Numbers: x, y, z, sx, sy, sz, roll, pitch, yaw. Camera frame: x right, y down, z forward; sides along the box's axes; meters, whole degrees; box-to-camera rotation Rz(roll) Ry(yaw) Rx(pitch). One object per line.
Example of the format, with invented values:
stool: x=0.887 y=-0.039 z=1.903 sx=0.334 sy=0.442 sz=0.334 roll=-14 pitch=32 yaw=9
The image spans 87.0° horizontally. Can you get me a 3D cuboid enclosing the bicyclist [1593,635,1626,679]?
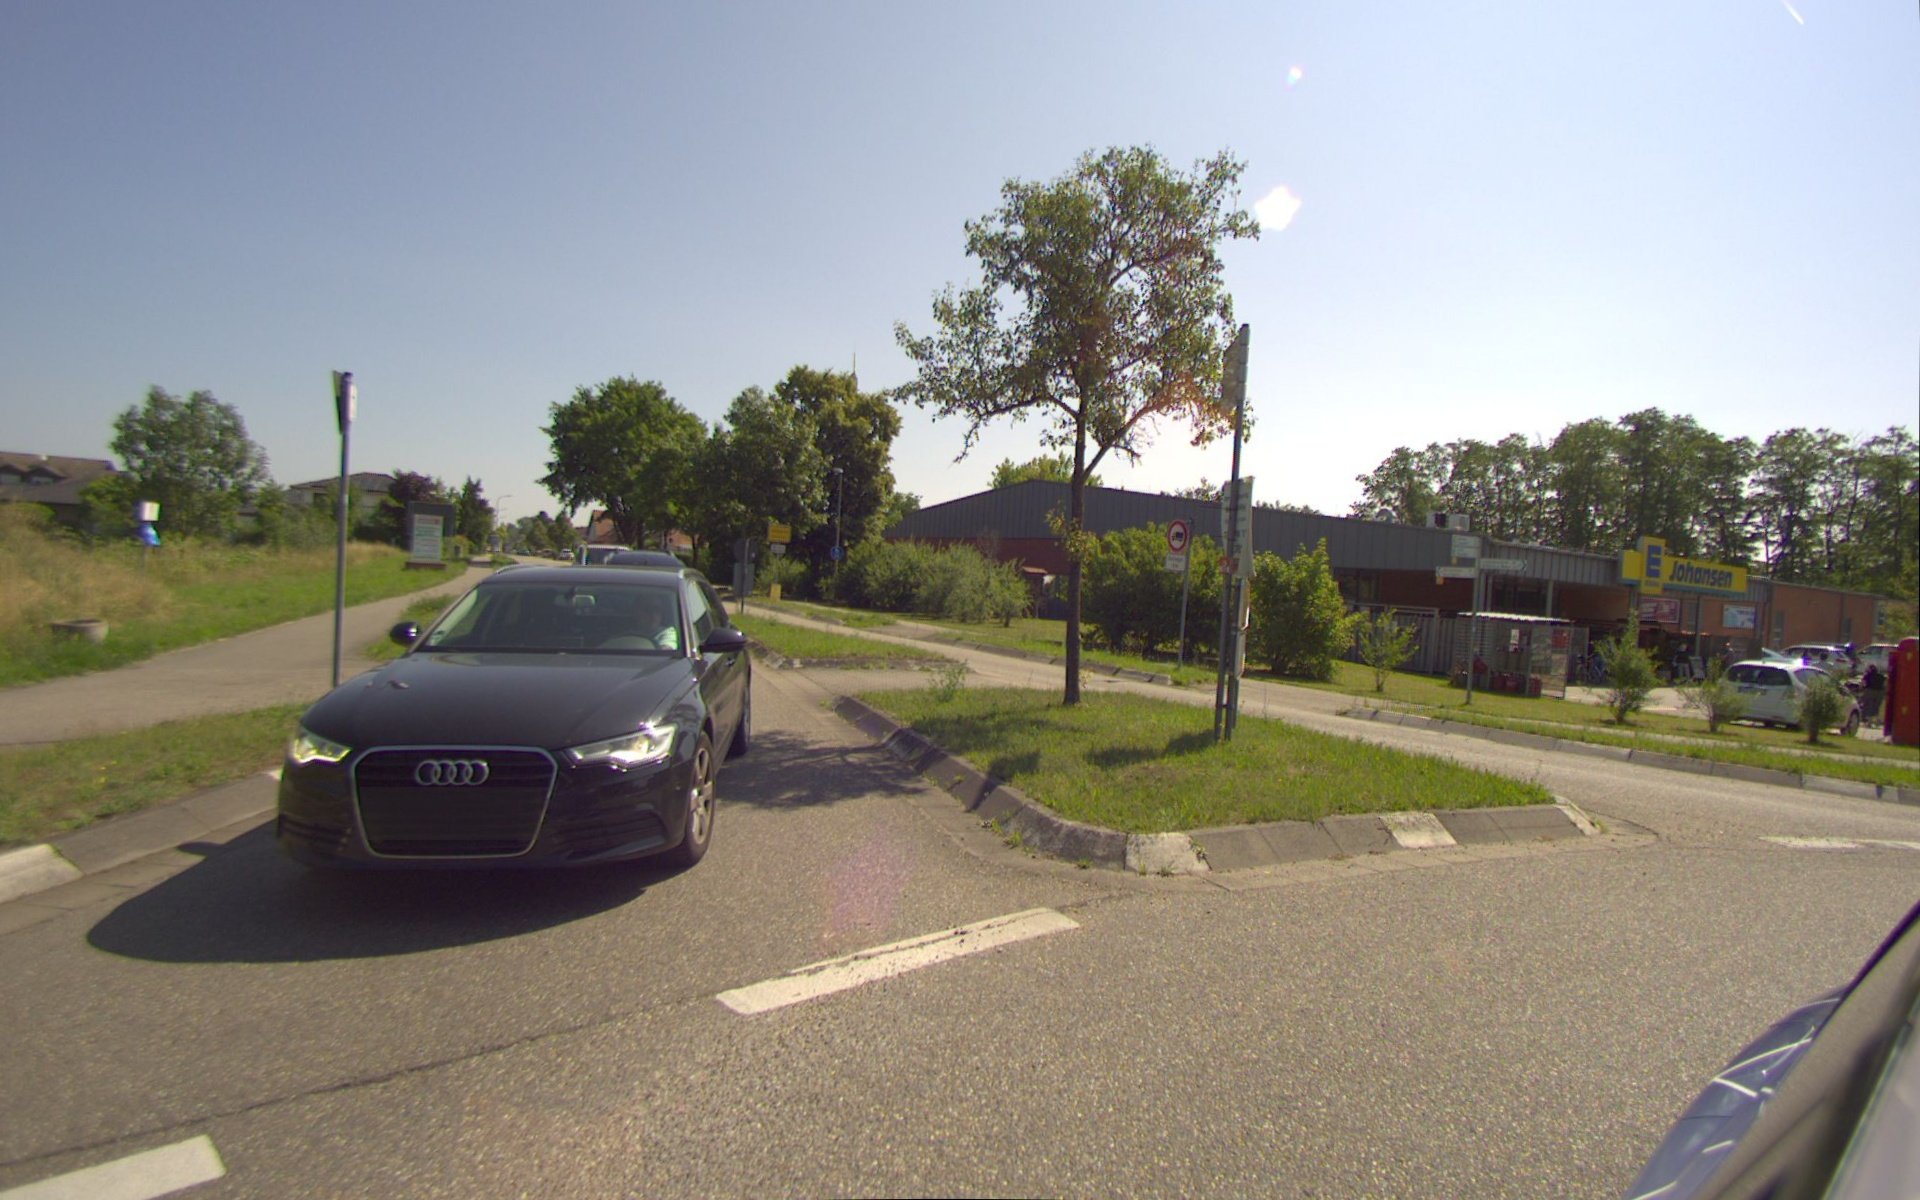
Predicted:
bicyclist: x=23.564 y=2.064 z=36.712 sx=0.594 sy=1.533 sz=0.679 roll=4 pitch=1 yaw=-15

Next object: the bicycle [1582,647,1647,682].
bicycle: x=23.593 y=2.315 z=36.514 sx=0.542 sy=1.054 sz=2.081 roll=4 pitch=1 yaw=-16

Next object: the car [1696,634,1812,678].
car: x=38.554 y=2.708 z=49.200 sx=1.962 sy=1.704 sz=4.000 roll=4 pitch=1 yaw=-37

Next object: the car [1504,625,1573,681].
car: x=18.774 y=1.722 z=32.839 sx=1.793 sy=1.656 sz=1.132 roll=4 pitch=0 yaw=-32

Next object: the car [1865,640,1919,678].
car: x=57.362 y=3.618 z=60.751 sx=1.960 sy=2.038 sz=4.005 roll=3 pitch=1 yaw=-32

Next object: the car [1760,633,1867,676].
car: x=46.142 y=2.932 z=54.767 sx=1.962 sy=1.838 sz=4.001 roll=3 pitch=2 yaw=-37

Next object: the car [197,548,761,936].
car: x=-2.306 y=0.456 z=6.344 sx=1.884 sy=1.451 sz=4.922 roll=1 pitch=2 yaw=-9

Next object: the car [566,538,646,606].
car: x=-11.238 y=-0.924 z=31.897 sx=1.958 sy=1.838 sz=5.213 roll=3 pitch=1 yaw=-23

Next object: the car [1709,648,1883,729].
car: x=18.621 y=1.980 z=22.512 sx=3.695 sy=1.464 sz=1.728 roll=5 pitch=0 yaw=-30

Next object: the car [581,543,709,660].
car: x=-5.378 y=-0.072 z=16.914 sx=1.778 sy=1.661 sz=4.666 roll=0 pitch=2 yaw=-21

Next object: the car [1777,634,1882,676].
car: x=48.295 y=3.032 z=56.272 sx=1.962 sy=1.838 sz=4.001 roll=3 pitch=2 yaw=-37

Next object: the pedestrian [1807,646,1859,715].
pedestrian: x=25.616 y=2.357 z=29.705 sx=0.831 sy=1.894 sz=0.769 roll=4 pitch=0 yaw=21

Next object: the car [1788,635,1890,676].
car: x=50.092 y=3.143 z=57.729 sx=1.962 sy=1.838 sz=4.001 roll=3 pitch=2 yaw=-37

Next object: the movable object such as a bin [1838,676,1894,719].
movable object such as a bin: x=25.232 y=2.707 z=28.201 sx=0.759 sy=1.059 sz=1.033 roll=4 pitch=0 yaw=20

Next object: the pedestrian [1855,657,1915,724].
pedestrian: x=24.911 y=2.416 z=27.265 sx=0.805 sy=1.639 sz=0.919 roll=4 pitch=0 yaw=21
